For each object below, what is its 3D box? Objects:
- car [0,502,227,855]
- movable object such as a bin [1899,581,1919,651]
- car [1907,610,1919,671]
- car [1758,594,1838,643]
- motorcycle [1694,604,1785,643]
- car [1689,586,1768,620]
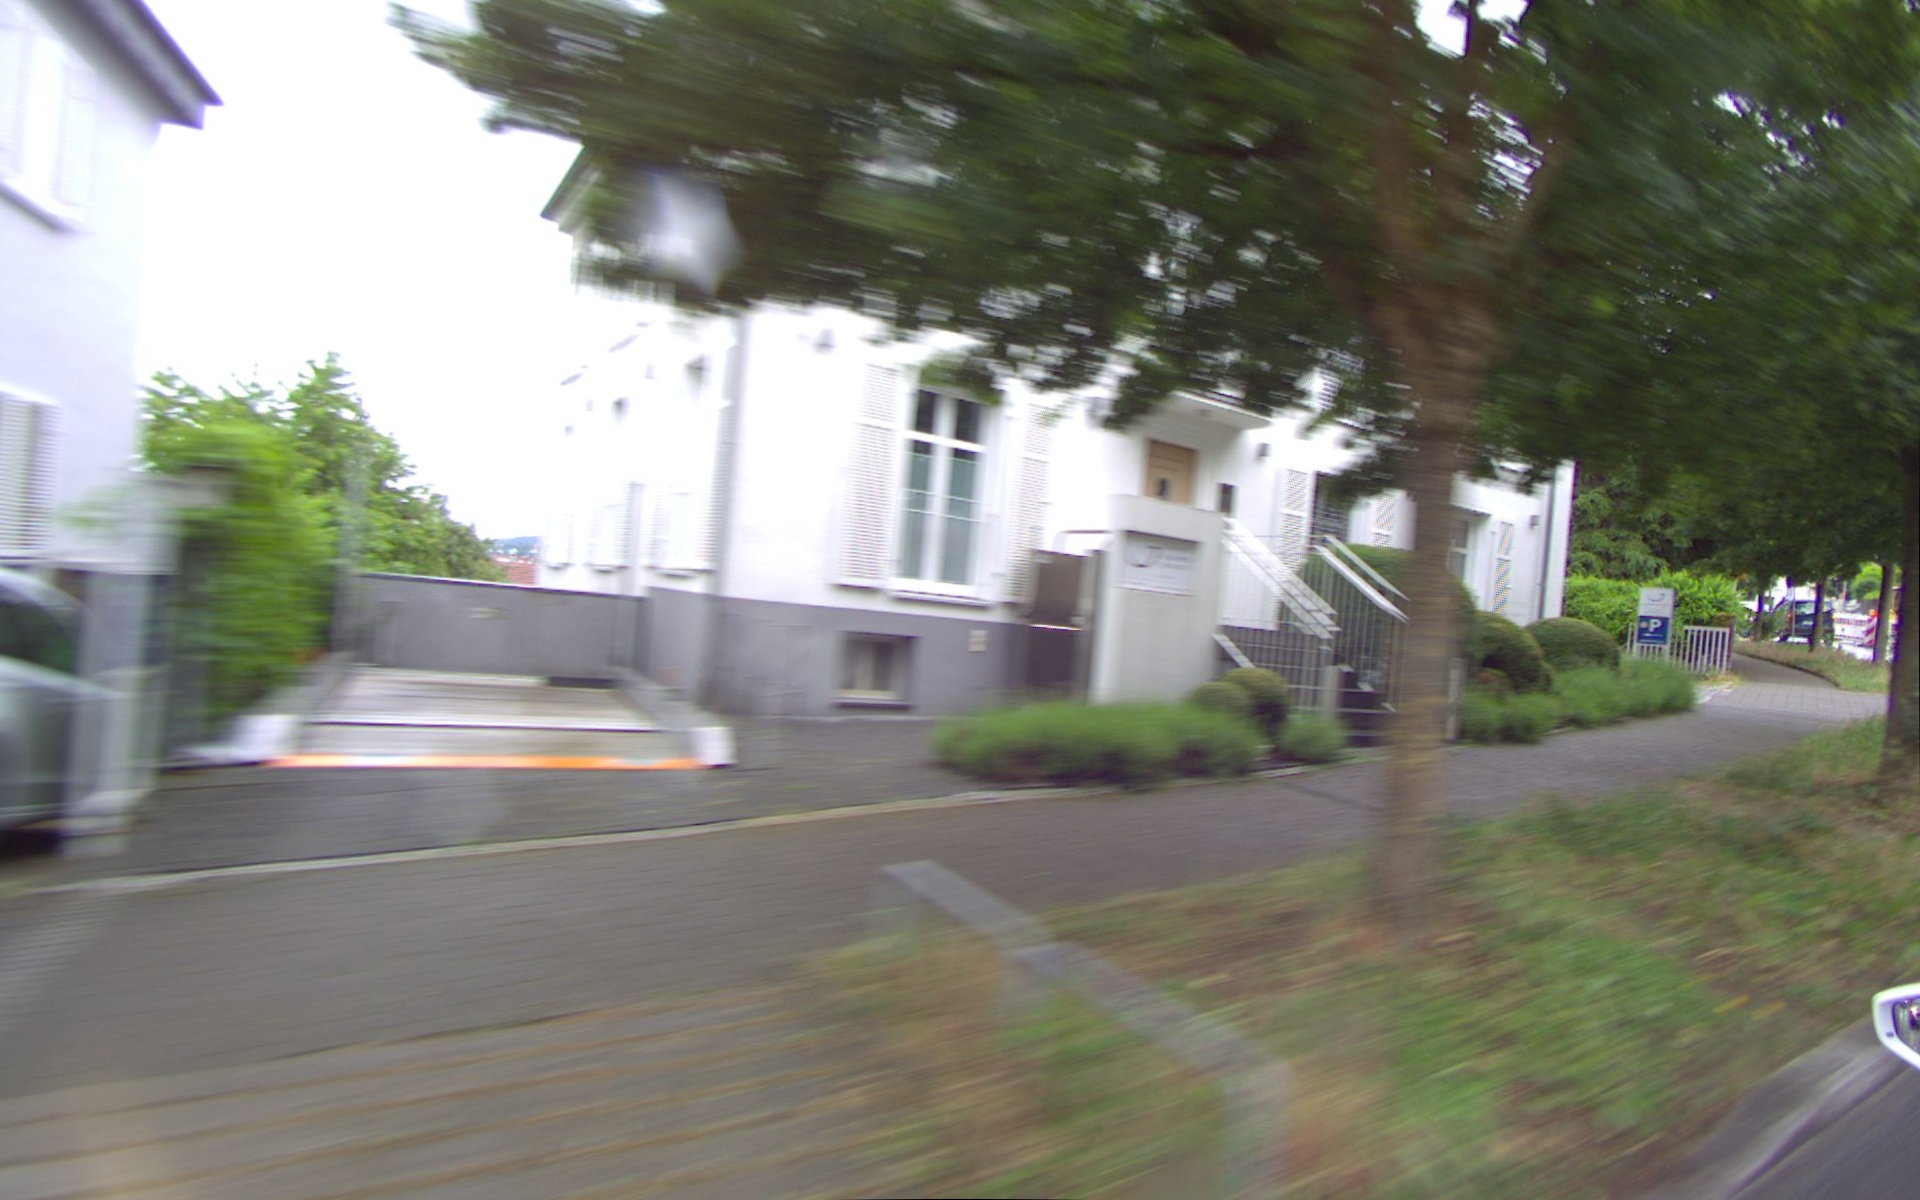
[{"bbox_3d":[-5.631,0.320,5.474,1.725,1.581,3.977,3,-1,-23],"label":"car"},{"bbox_3d":[38.110,0.647,38.609,1.964,2.649,3.992,2,3,29],"label":"movable object such as a bin"},{"bbox_3d":[25.852,1.080,25.401,1.899,1.639,4.310,2,0,32],"label":"car"},{"bbox_3d":[34.201,0.789,41.092,1.966,1.817,3.991,1,-2,33],"label":"car"},{"bbox_3d":[29.661,0.880,38.290,2.560,1.250,0.888,4,1,30],"label":"motorcycle"},{"bbox_3d":[39.156,0.185,51.295,1.691,1.505,4.079,2,-2,14],"label":"car"}]
